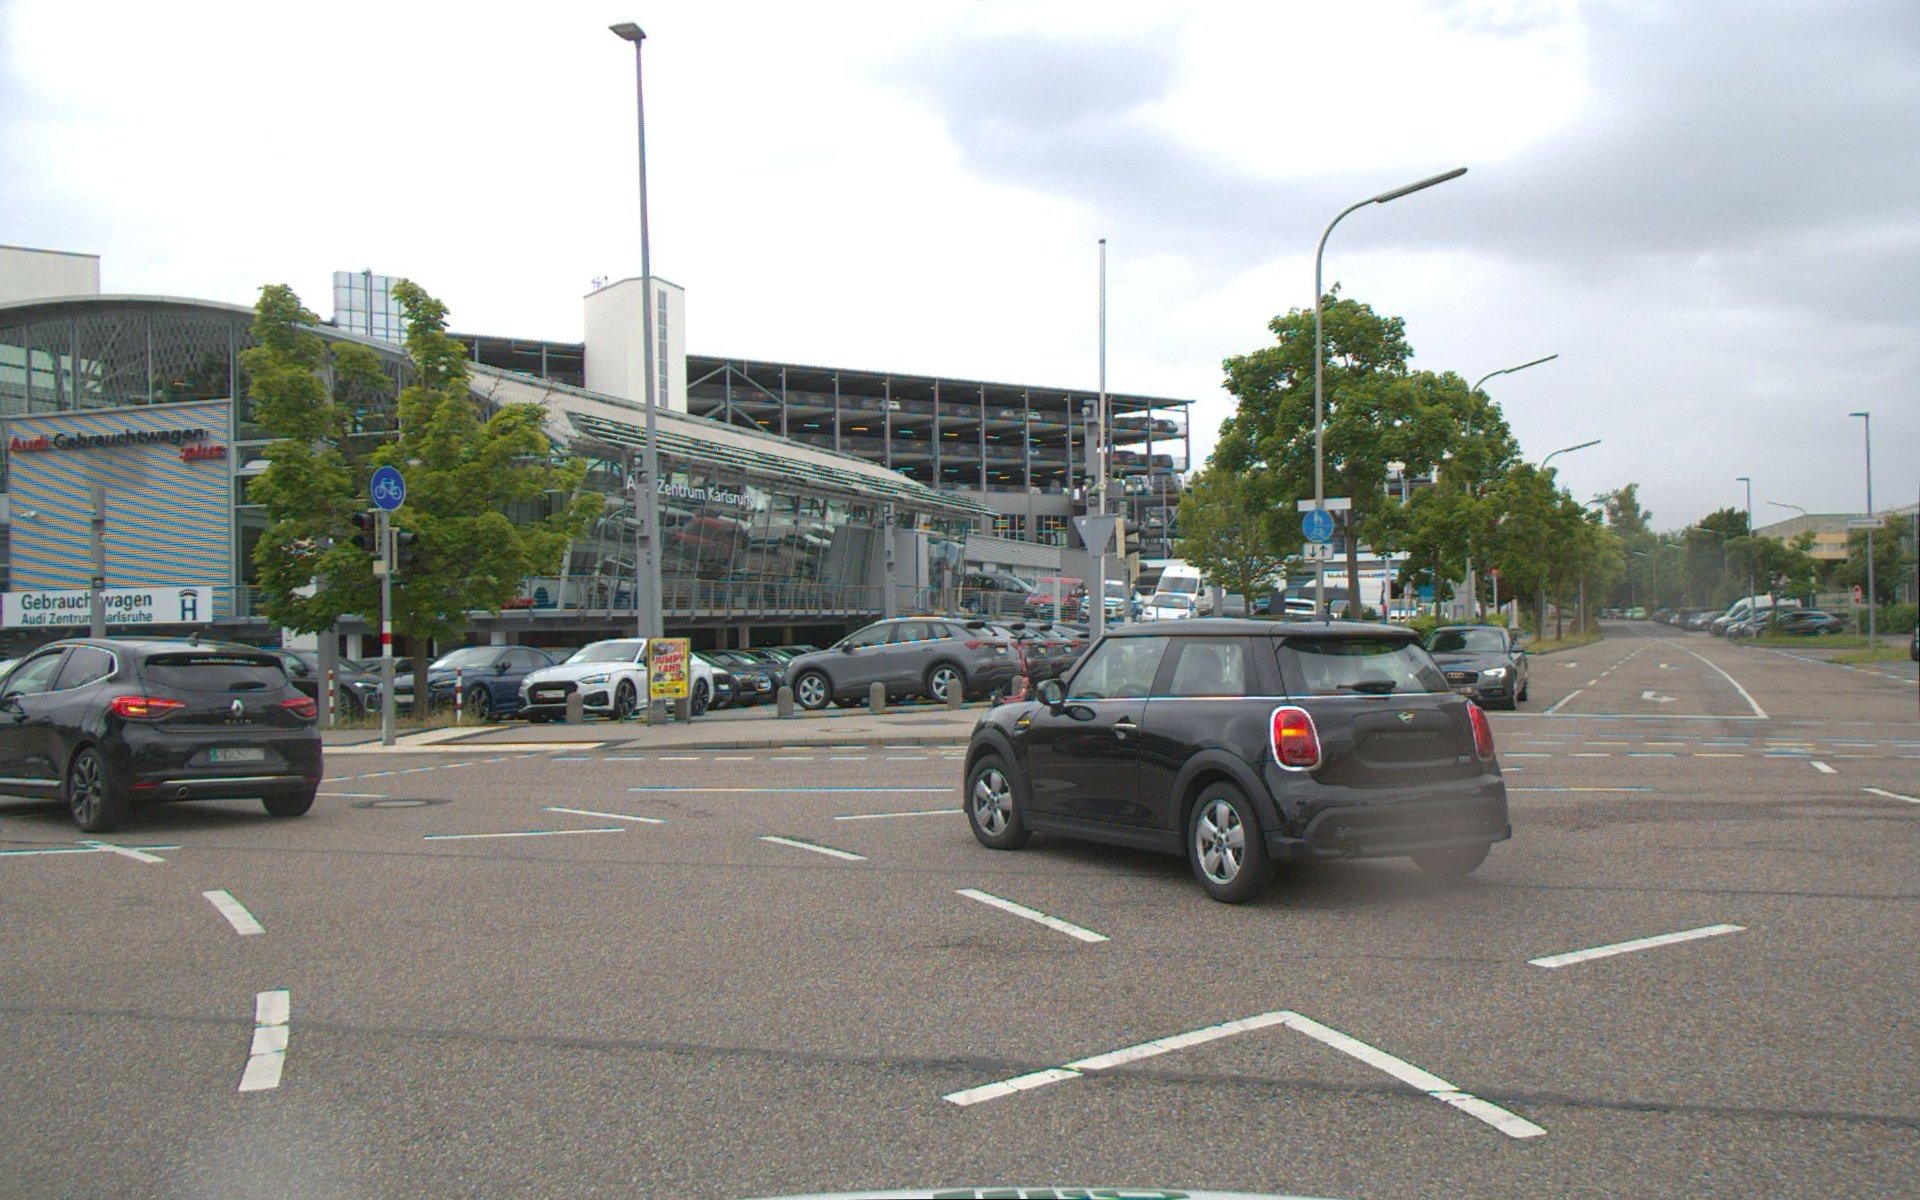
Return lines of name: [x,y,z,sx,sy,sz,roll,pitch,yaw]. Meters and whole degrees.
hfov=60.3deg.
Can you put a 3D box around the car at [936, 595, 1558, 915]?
car: [1.452,0.790,9.702,1.765,1.440,3.611,-2,-2,-27]

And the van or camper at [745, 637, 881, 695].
van or camper: [-4.677,2.078,52.723,3.903,1.741,1.848,0,-1,18]

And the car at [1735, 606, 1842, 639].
car: [45.647,1.242,91.226,5.066,1.750,2.144,0,-1,20]

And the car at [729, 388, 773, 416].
car: [-17.252,-16.283,136.304,1.978,1.697,3.949,0,-1,-36]

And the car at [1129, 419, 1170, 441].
car: [18.713,-16.772,163.550,1.978,1.697,3.949,0,-1,-36]

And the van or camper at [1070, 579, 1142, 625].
van or camper: [5.694,0.108,64.057,1.952,1.680,4.001,0,-1,18]

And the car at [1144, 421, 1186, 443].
car: [20.435,-16.773,164.941,1.978,1.697,3.949,0,-1,-36]

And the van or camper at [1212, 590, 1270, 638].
van or camper: [12.520,0.640,73.503,1.952,2.049,4.001,0,-1,18]

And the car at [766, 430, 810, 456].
car: [-14.363,-13.056,137.621,1.978,1.697,3.949,0,-1,-36]

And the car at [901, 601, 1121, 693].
car: [1.242,1.143,39.577,4.842,1.909,2.055,-3,-3,16]

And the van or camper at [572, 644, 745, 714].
van or camper: [-7.755,2.001,42.628,3.903,1.707,2.001,0,-1,18]

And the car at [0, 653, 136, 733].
car: [-18.518,1.841,32.457,1.831,1.512,4.045,-2,-4,19]

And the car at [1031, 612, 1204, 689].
car: [4.774,1.534,50.023,4.790,2.049,2.001,-3,-3,17]

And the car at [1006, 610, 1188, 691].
car: [3.927,1.464,47.311,4.790,2.049,2.001,-3,-3,17]

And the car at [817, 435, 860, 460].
car: [-10.336,-12.950,140.482,1.978,1.697,3.949,0,-1,-36]

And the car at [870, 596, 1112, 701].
car: [0.707,1.096,37.118,4.917,2.049,2.267,-3,-3,18]

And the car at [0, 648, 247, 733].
car: [-16.034,1.764,31.931,1.808,1.512,4.198,-2,-4,19]

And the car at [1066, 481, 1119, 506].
car: [12.849,-10.311,160.417,2.189,1.979,5.255,0,-1,-39]

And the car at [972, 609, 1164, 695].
car: [2.936,1.428,44.778,4.790,2.049,2.001,-3,-3,17]

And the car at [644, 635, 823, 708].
car: [-6.538,2.052,47.774,4.701,1.973,2.000,-2,-1,20]

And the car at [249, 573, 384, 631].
car: [-19.828,0.082,51.138,1.781,1.691,4.002,0,-1,17]

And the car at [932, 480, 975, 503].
car: [-0.567,-9.705,148.289,1.978,1.697,3.949,0,-1,-36]

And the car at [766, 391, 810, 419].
car: [-14.334,-16.218,137.776,1.978,1.697,3.949,0,-1,-36]

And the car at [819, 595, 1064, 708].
car: [-0.371,1.086,34.309,4.602,2.049,2.001,-3,-3,18]

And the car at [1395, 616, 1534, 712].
car: [9.172,1.098,29.850,1.938,1.578,4.613,-1,-1,22]

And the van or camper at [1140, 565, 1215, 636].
van or camper: [9.864,0.081,74.661,2.482,3.080,4.845,0,-1,18]

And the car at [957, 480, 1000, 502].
car: [1.697,-9.880,150.166,1.978,1.697,3.949,0,-1,-36]

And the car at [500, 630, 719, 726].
car: [-6.012,1.366,28.885,1.830,1.512,4.230,-2,-3,19]

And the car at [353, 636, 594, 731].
car: [-8.626,1.536,29.758,2.019,1.512,4.518,-3,-4,17]

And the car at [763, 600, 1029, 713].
car: [-1.214,1.104,31.877,4.671,1.895,2.001,-3,-3,17]

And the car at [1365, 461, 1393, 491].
car: [34.018,-10.051,134.301,1.951,1.916,4.001,-2,-2,18]

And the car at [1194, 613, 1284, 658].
car: [13.134,1.683,77.811,3.904,2.049,2.000,0,-1,19]

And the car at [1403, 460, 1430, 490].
car: [36.815,-10.056,133.357,1.951,1.916,4.001,-2,-2,18]

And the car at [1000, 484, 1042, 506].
car: [5.649,-9.686,153.383,1.978,1.697,3.949,0,-1,-36]

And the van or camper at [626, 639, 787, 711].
van or camper: [-6.901,2.015,45.049,3.903,1.848,1.848,0,-1,18]

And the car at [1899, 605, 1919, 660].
car: [32.455,1.071,53.632,3.371,1.762,1.756,1,-1,-20]

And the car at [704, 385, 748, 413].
car: [-19.070,-16.338,134.703,1.978,1.697,3.949,0,-1,-36]

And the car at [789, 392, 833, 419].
car: [-12.578,-16.381,139.412,1.978,1.697,3.949,0,-1,-36]

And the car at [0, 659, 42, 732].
car: [-21.047,1.930,33.405,1.826,1.512,4.232,-2,-4,19]

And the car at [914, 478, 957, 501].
car: [-2.208,-9.752,146.836,1.978,1.697,3.949,0,-1,-36]

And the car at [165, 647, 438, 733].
car: [-12.371,1.722,31.100,4.640,1.512,1.893,-2,-4,19]

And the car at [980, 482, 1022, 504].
car: [3.740,-9.823,151.543,1.978,1.697,3.949,0,-1,-36]
